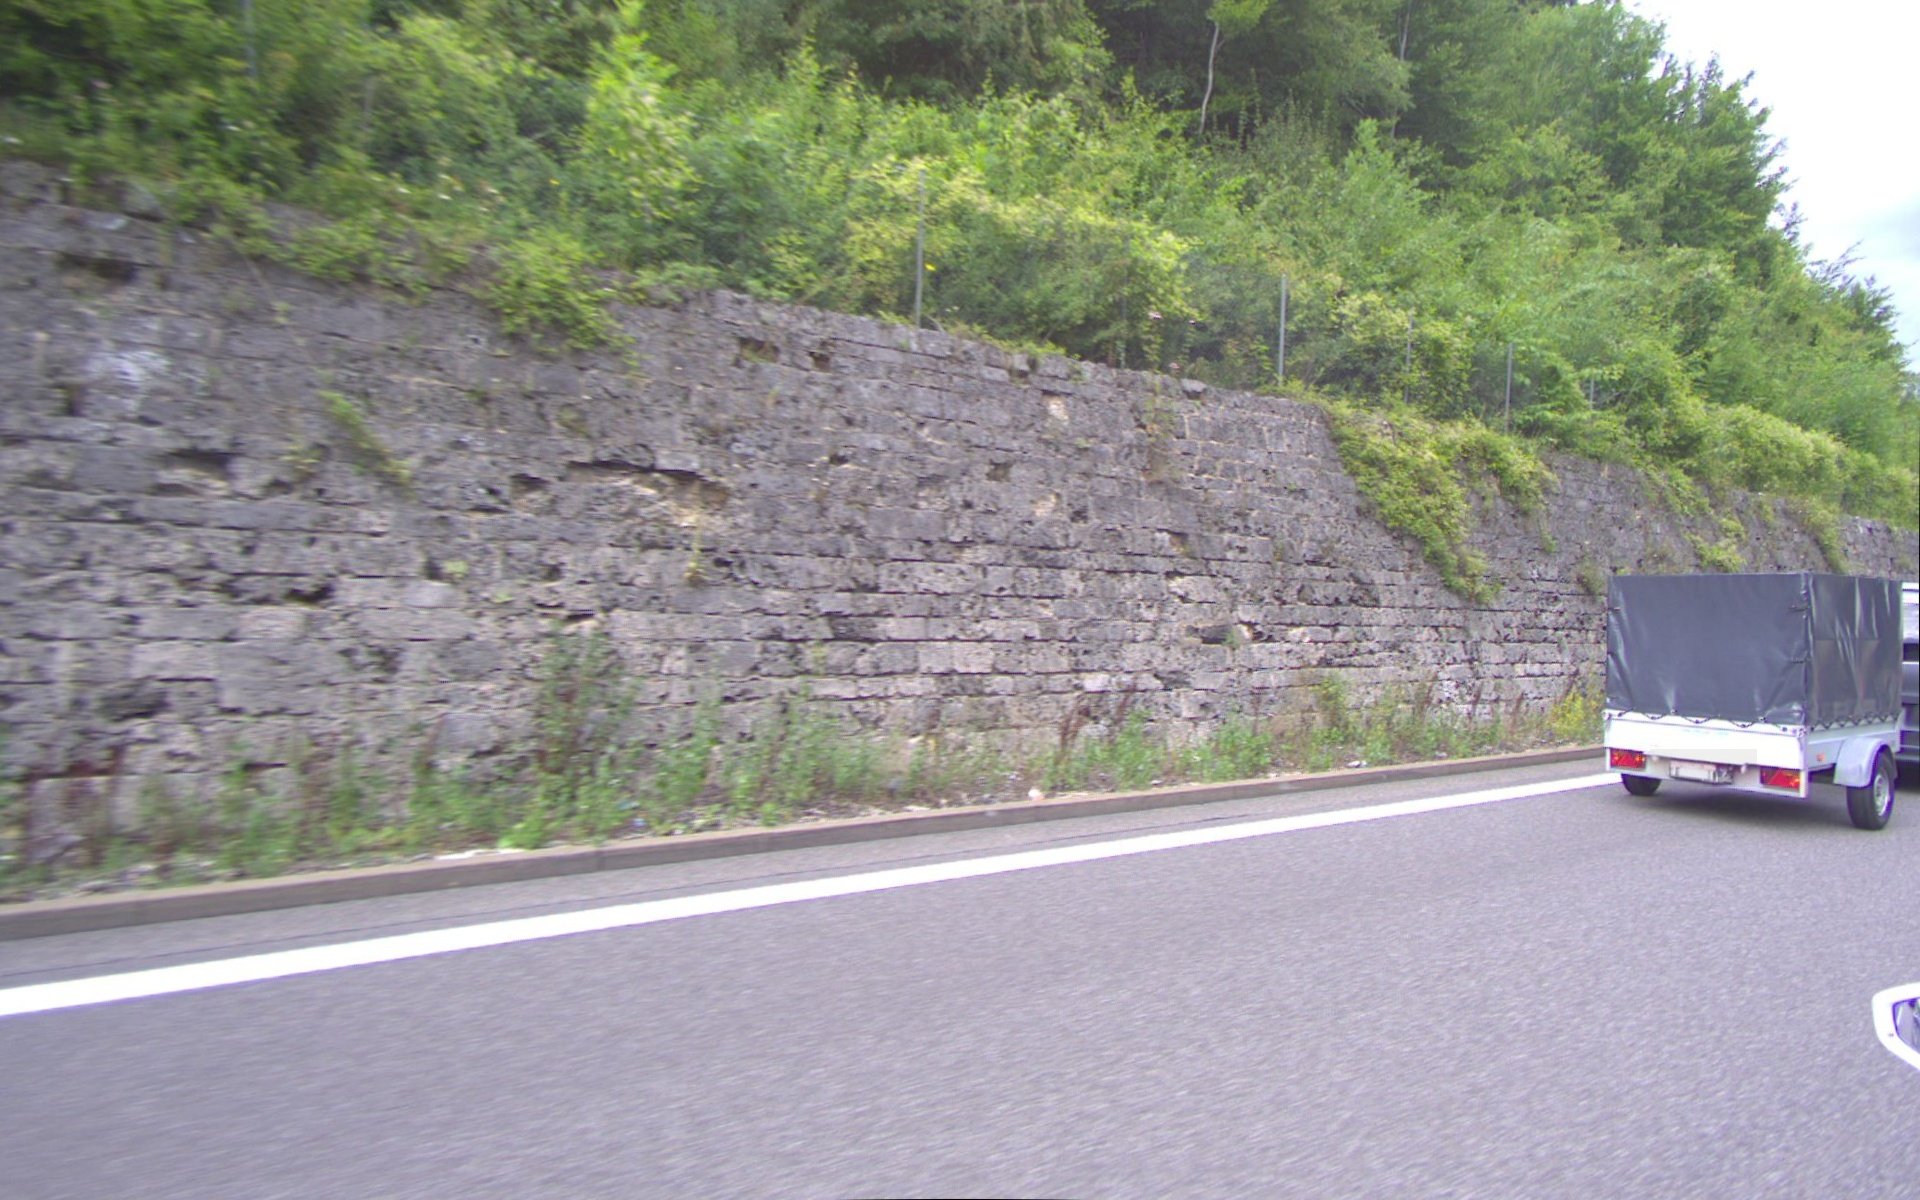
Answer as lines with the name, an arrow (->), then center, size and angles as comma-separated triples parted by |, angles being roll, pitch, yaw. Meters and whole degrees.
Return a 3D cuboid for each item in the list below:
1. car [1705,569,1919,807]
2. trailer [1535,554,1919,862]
car -> 10.171, 0.796, 10.636 | 5.483, 2.040, 1.981 | 1, 0, -34
trailer -> 6.559, 0.716, 8.191 | 3.395, 1.965, 1.959 | 1, 0, -34
